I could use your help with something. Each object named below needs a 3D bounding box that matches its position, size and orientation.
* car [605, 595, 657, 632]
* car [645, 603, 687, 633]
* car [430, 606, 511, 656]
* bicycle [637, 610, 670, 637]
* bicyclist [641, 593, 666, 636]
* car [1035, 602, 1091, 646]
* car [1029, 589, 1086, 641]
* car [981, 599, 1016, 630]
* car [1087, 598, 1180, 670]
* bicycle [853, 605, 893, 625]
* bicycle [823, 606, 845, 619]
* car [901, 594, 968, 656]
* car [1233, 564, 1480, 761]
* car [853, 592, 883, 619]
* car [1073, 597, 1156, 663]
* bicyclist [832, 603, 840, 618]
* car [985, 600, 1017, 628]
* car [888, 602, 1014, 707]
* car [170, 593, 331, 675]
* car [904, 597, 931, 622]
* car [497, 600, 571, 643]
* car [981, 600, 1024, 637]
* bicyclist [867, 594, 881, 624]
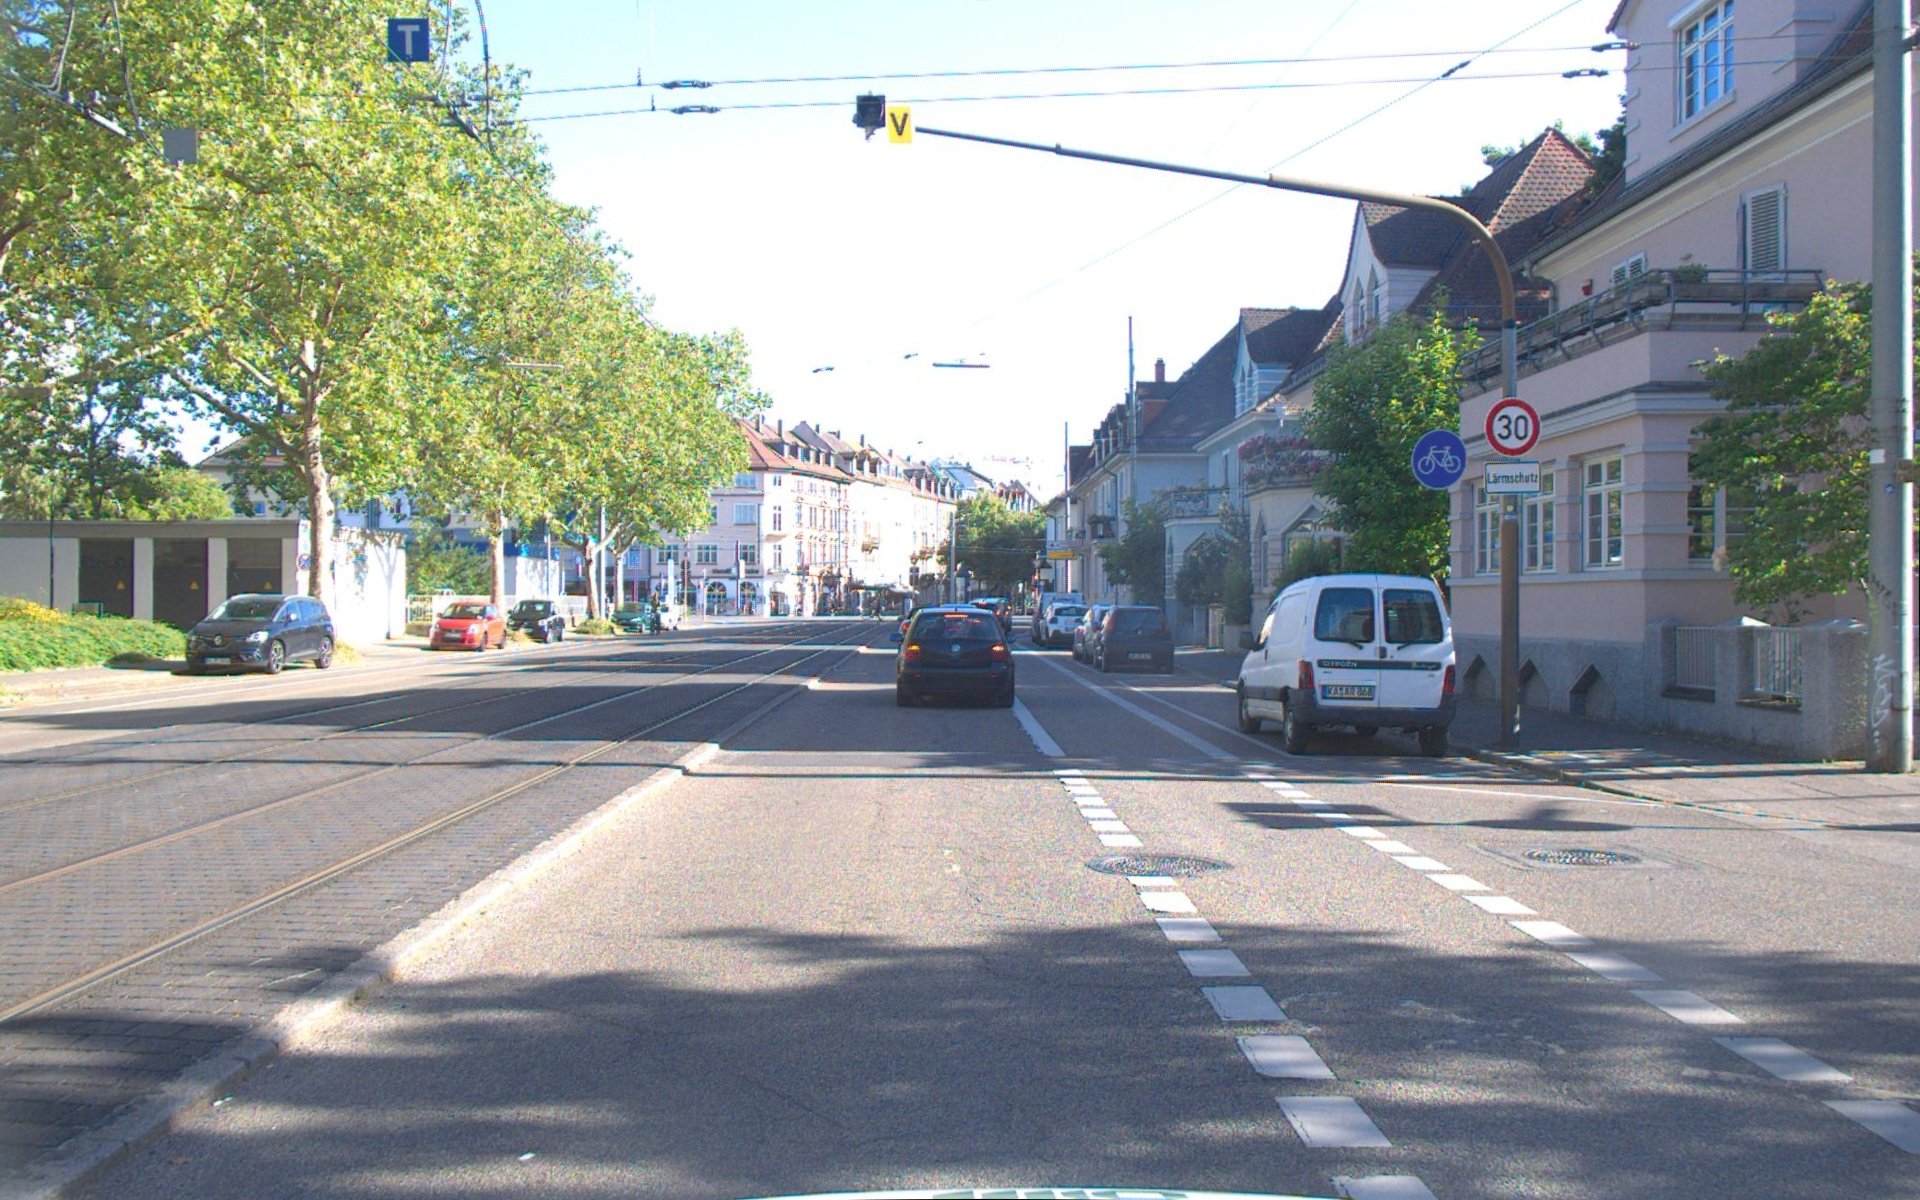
[{"bbox_3d":[-16.146,0.645,81.357,1.846,1.698,3.803,2,0,-2],"label":"car"},{"bbox_3d":[-15.567,0.938,87.604,1.603,1.498,3.728,0,0,-1],"label":"car"},{"bbox_3d":[-15.539,0.976,52.637,1.538,1.560,3.571,0,-1,-1],"label":"car"},{"bbox_3d":[-13.650,1.025,73.689,0.895,1.102,3.202,2,0,-1],"label":"bicycle"},{"bbox_3d":[-13.633,0.644,73.695,0.895,1.865,0.960,2,0,-1],"label":"bicyclist"},{"bbox_3d":[3.397,0.777,55.153,1.548,1.399,3.999,0,0,-1],"label":"car"},{"bbox_3d":[3.525,0.526,60.301,1.780,1.830,3.999,0,0,-1],"label":"car"},{"bbox_3d":[1.939,0.717,83.959,1.603,1.498,3.728,0,0,-1],"label":"car"},{"bbox_3d":[3.903,0.740,37.691,1.627,1.552,4.035,0,0,-1],"label":"car"},{"bbox_3d":[-5.979,1.006,113.916,2.687,1.285,0.706,2,0,-1],"label":"bicycle"},{"bbox_3d":[-11.846,1.138,155.834,2.046,1.160,0.921,2,0,-5],"label":"bicycle"},{"bbox_3d":[-0.656,0.638,44.100,1.713,1.564,3.891,0,0,0],"label":"car"},{"bbox_3d":[4.170,0.599,17.937,1.723,1.870,3.547,2,0,-1],"label":"car"},{"bbox_3d":[-5.554,0.332,99.640,1.603,1.498,3.728,2,0,-1],"label":"car"},{"bbox_3d":[3.881,0.730,42.064,1.713,1.564,3.955,0,0,0],"label":"car"},{"bbox_3d":[-11.683,0.959,155.859,0.668,1.360,0.921,2,0,-4],"label":"bicyclist"},{"bbox_3d":[2.264,0.777,91.760,1.603,1.498,3.728,0,0,-1],"label":"car"},{"bbox_3d":[-0.199,0.742,24.565,1.713,1.399,3.998,0,0,-2],"label":"car"},{"bbox_3d":[-15.423,0.709,36.185,1.849,1.695,3.999,0,0,-1],"label":"car"},{"bbox_3d":[-2.580,0.563,100.233,1.603,1.498,3.728,0,0,-1],"label":"car"},{"bbox_3d":[-15.835,0.777,61.604,1.756,1.491,3.835,3,0,-1],"label":"car"},{"bbox_3d":[1.707,0.733,67.662,1.603,1.498,3.728,0,0,-1],"label":"car"},{"bbox_3d":[-5.934,0.627,113.910,0.858,2.044,0.706,2,0,-1],"label":"bicyclist"}]
